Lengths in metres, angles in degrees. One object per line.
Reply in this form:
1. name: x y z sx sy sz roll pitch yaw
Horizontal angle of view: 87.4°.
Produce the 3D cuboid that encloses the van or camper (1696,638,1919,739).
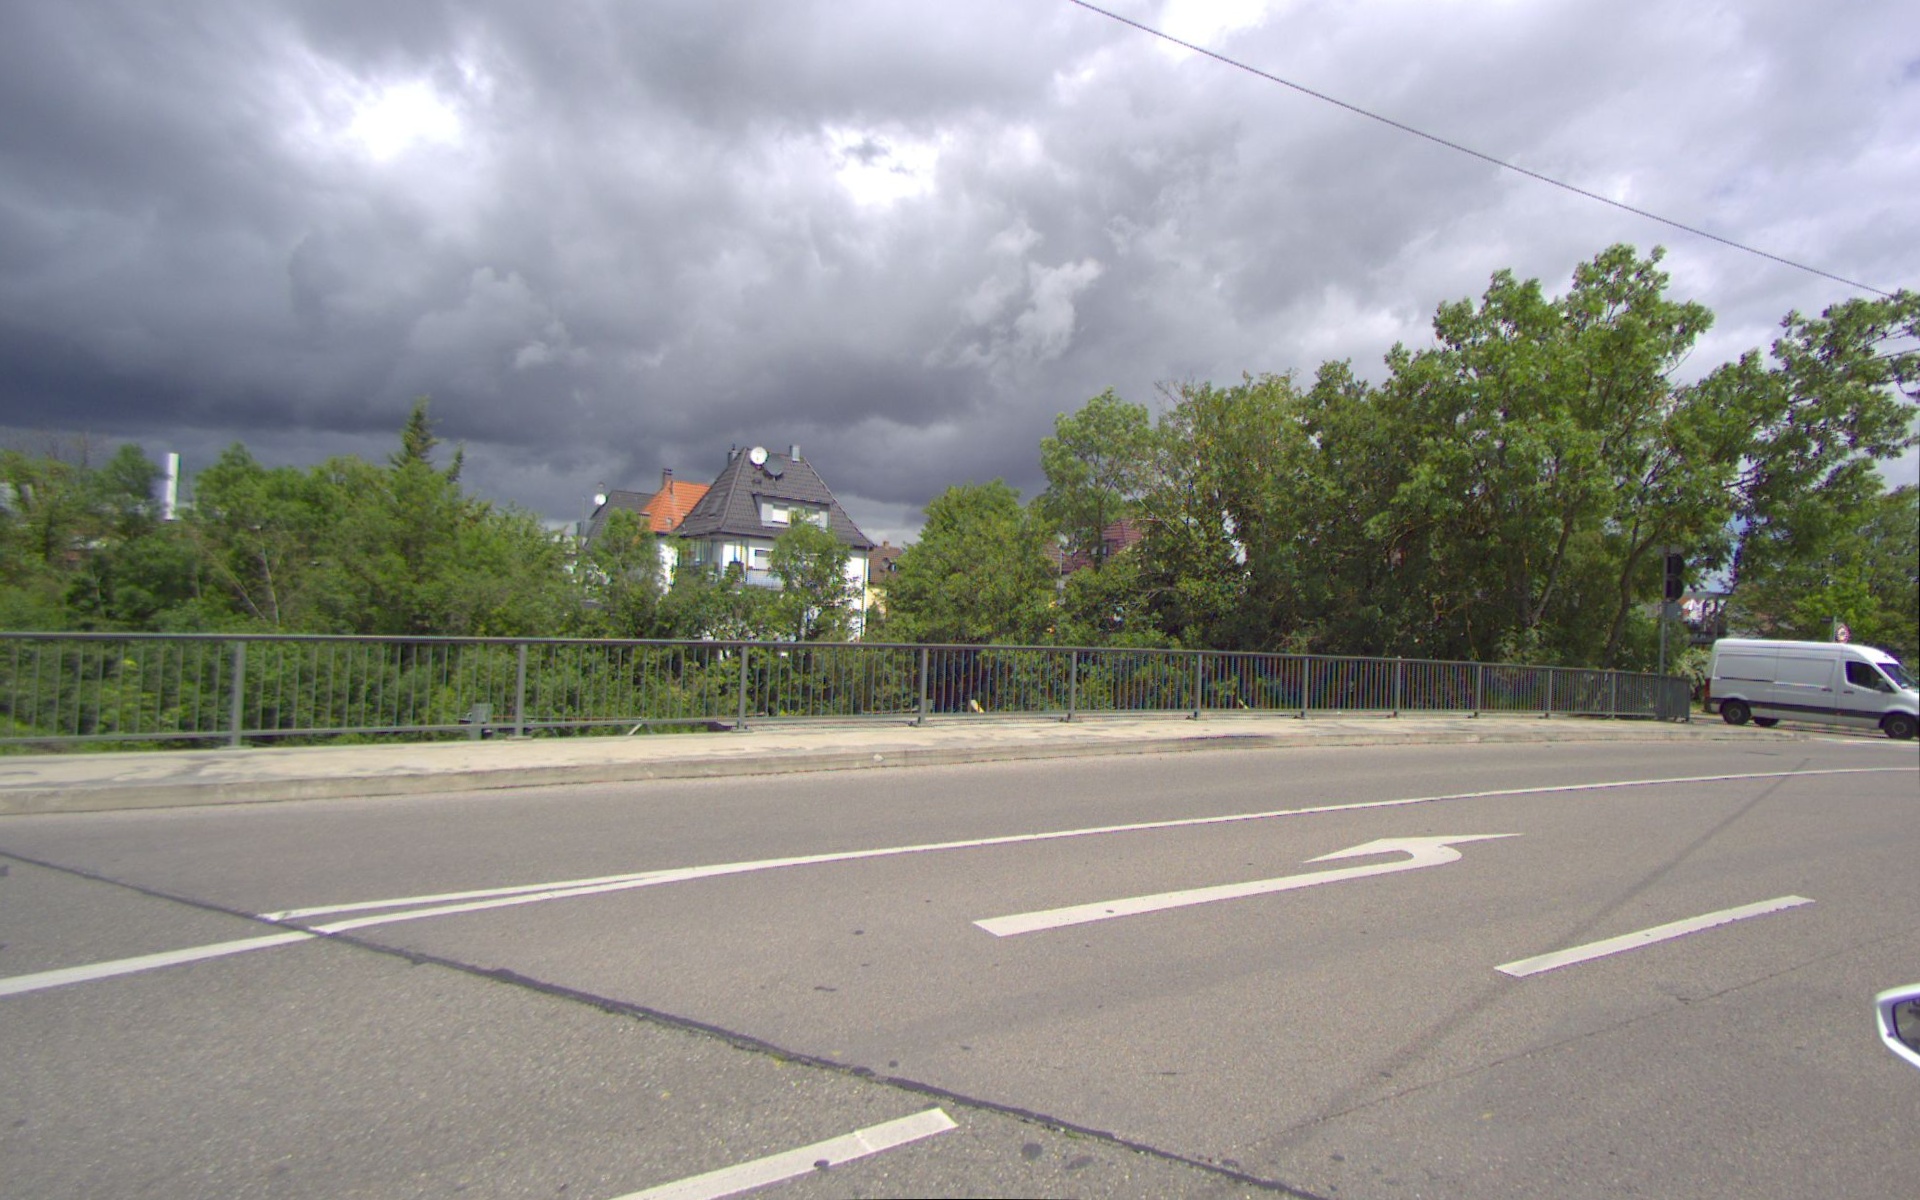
1. van or camper: 25.376 2.536 29.349 2.167 2.599 5.887 6 -4 -27
